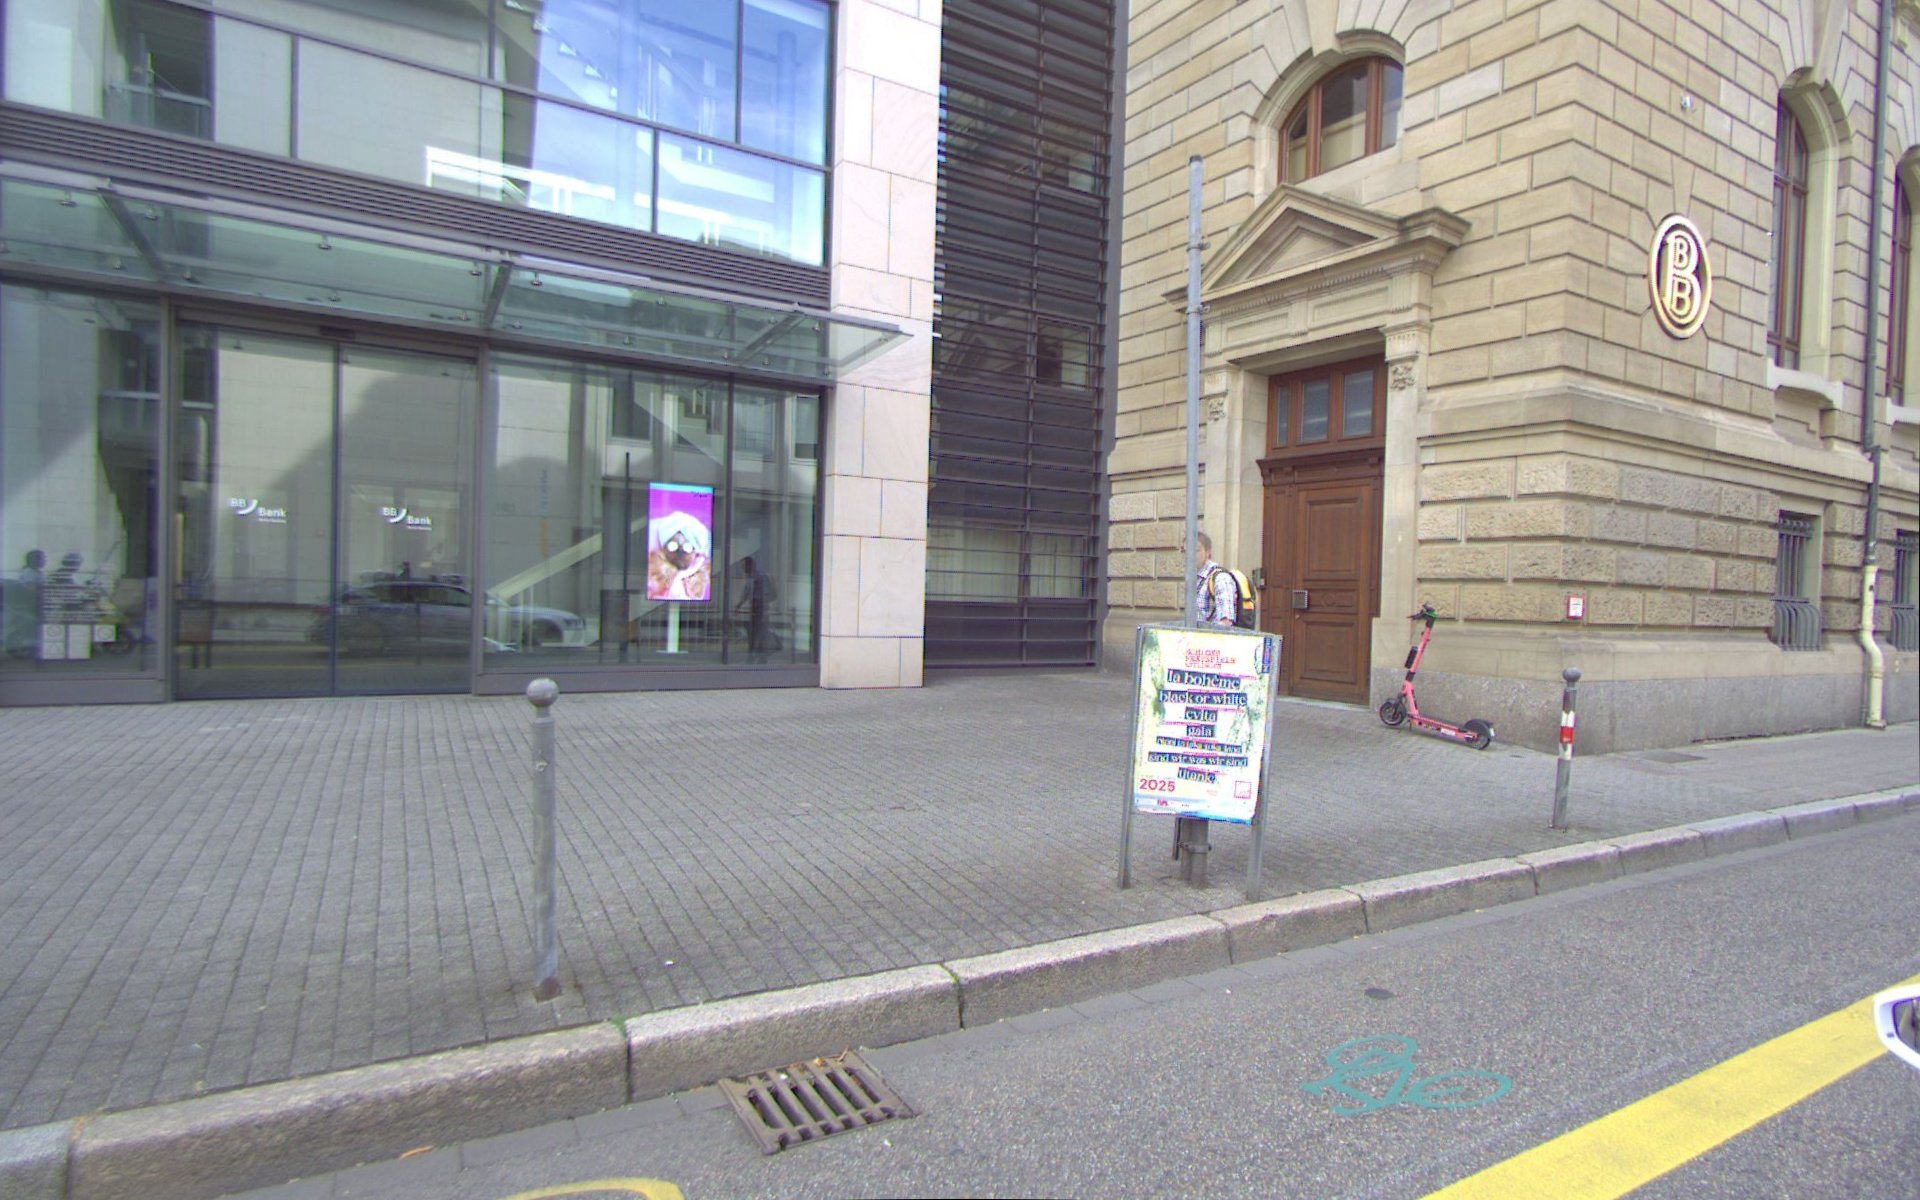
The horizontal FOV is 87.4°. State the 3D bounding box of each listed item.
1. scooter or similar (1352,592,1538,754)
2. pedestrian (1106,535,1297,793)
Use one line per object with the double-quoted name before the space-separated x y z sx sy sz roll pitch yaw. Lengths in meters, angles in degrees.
"scooter or similar" 4.538 0.635 9.497 0.580 1.328 1.439 0 4 -30
"pedestrian" 1.750 0.417 7.390 0.809 1.743 1.021 2 2 -30
